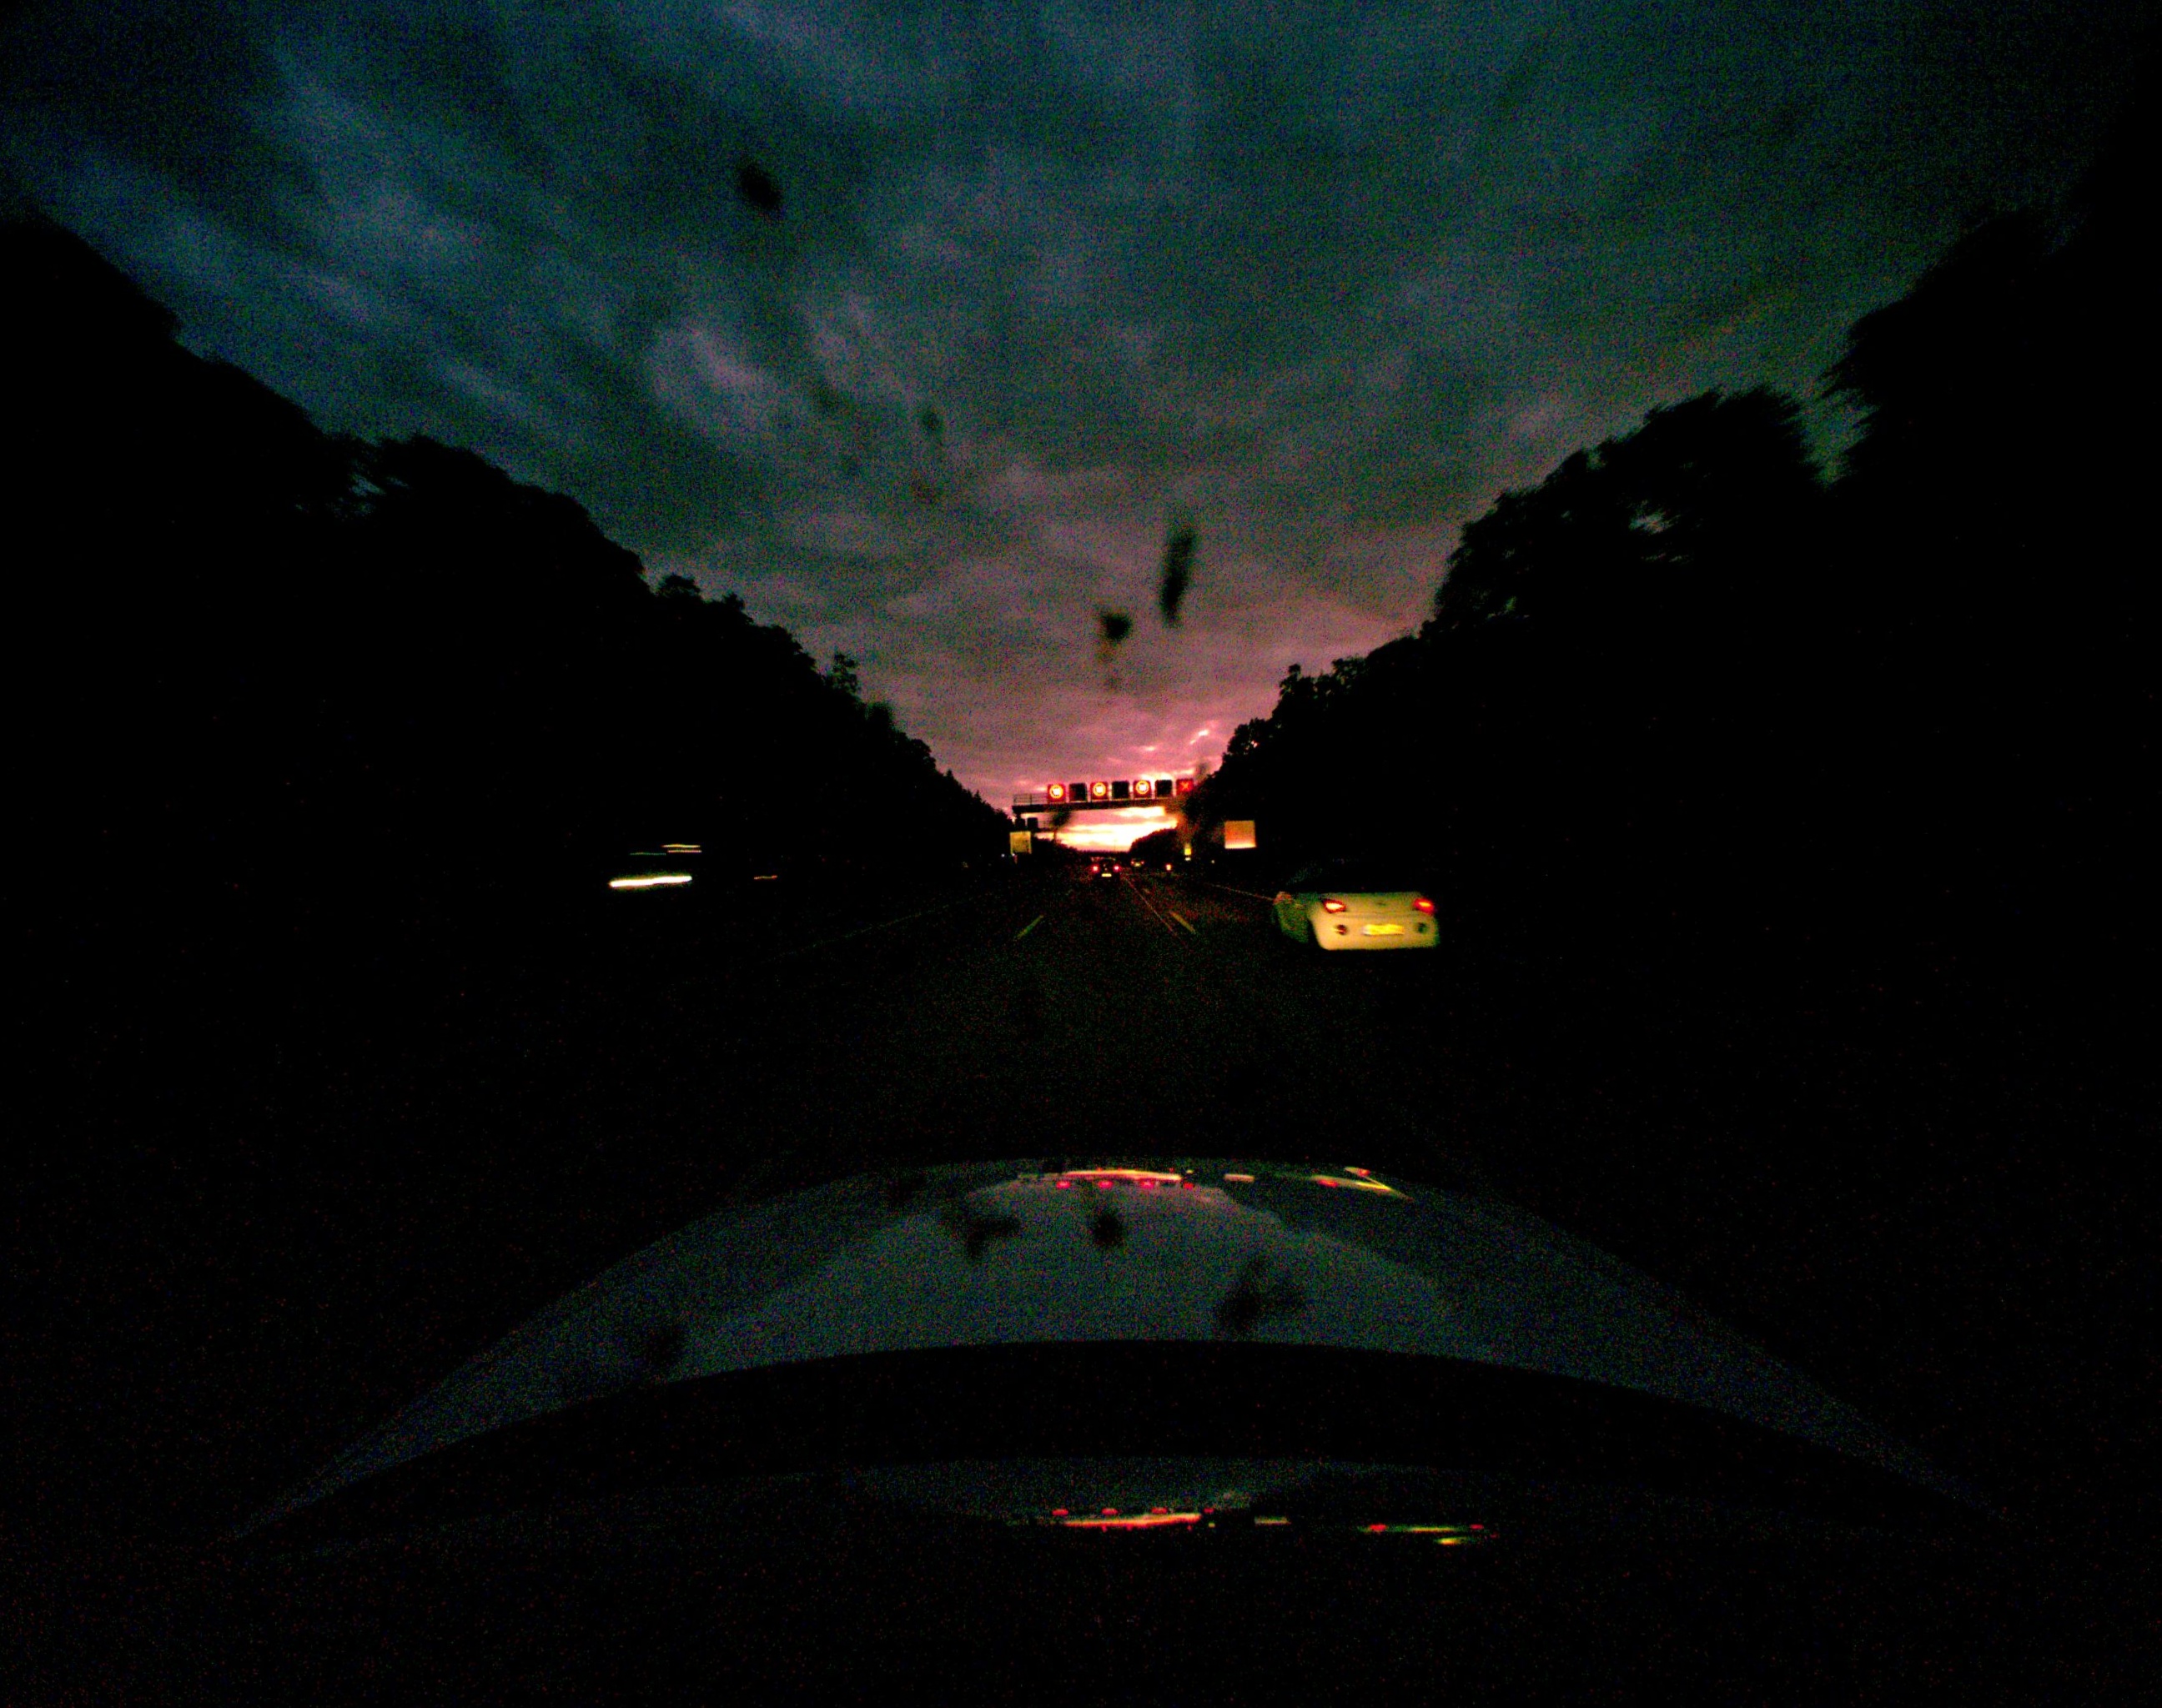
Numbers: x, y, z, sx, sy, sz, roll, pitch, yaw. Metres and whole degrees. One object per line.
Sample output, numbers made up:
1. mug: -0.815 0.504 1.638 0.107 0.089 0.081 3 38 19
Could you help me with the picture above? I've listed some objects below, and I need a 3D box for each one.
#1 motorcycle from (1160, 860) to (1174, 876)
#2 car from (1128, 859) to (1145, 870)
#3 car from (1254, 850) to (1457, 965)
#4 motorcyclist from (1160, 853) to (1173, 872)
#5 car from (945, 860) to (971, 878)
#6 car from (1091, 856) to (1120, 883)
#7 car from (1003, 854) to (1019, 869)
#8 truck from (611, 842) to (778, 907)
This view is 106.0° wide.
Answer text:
1. motorcycle: 6.210 1.015 59.095 0.826 1.134 2.477 -2 -1 2
2. car: 7.668 1.476 111.885 1.861 1.494 4.394 0 -1 -2
3. car: 4.040 0.718 12.793 1.819 1.476 4.400 -1 -1 2
4. motorcyclist: 6.194 0.608 59.032 0.826 1.291 1.190 -2 -1 2
5. car: -12.276 1.451 81.431 1.729 1.715 4.716 -1 0 1
6. car: 1.485 0.932 49.252 1.697 1.509 4.234 0 -1 2
7. car: -13.578 1.443 157.785 1.973 2.880 7.840 -2 -1 3
8. truck: -17.176 0.822 37.205 2.450 2.509 9.763 -1 0 3
